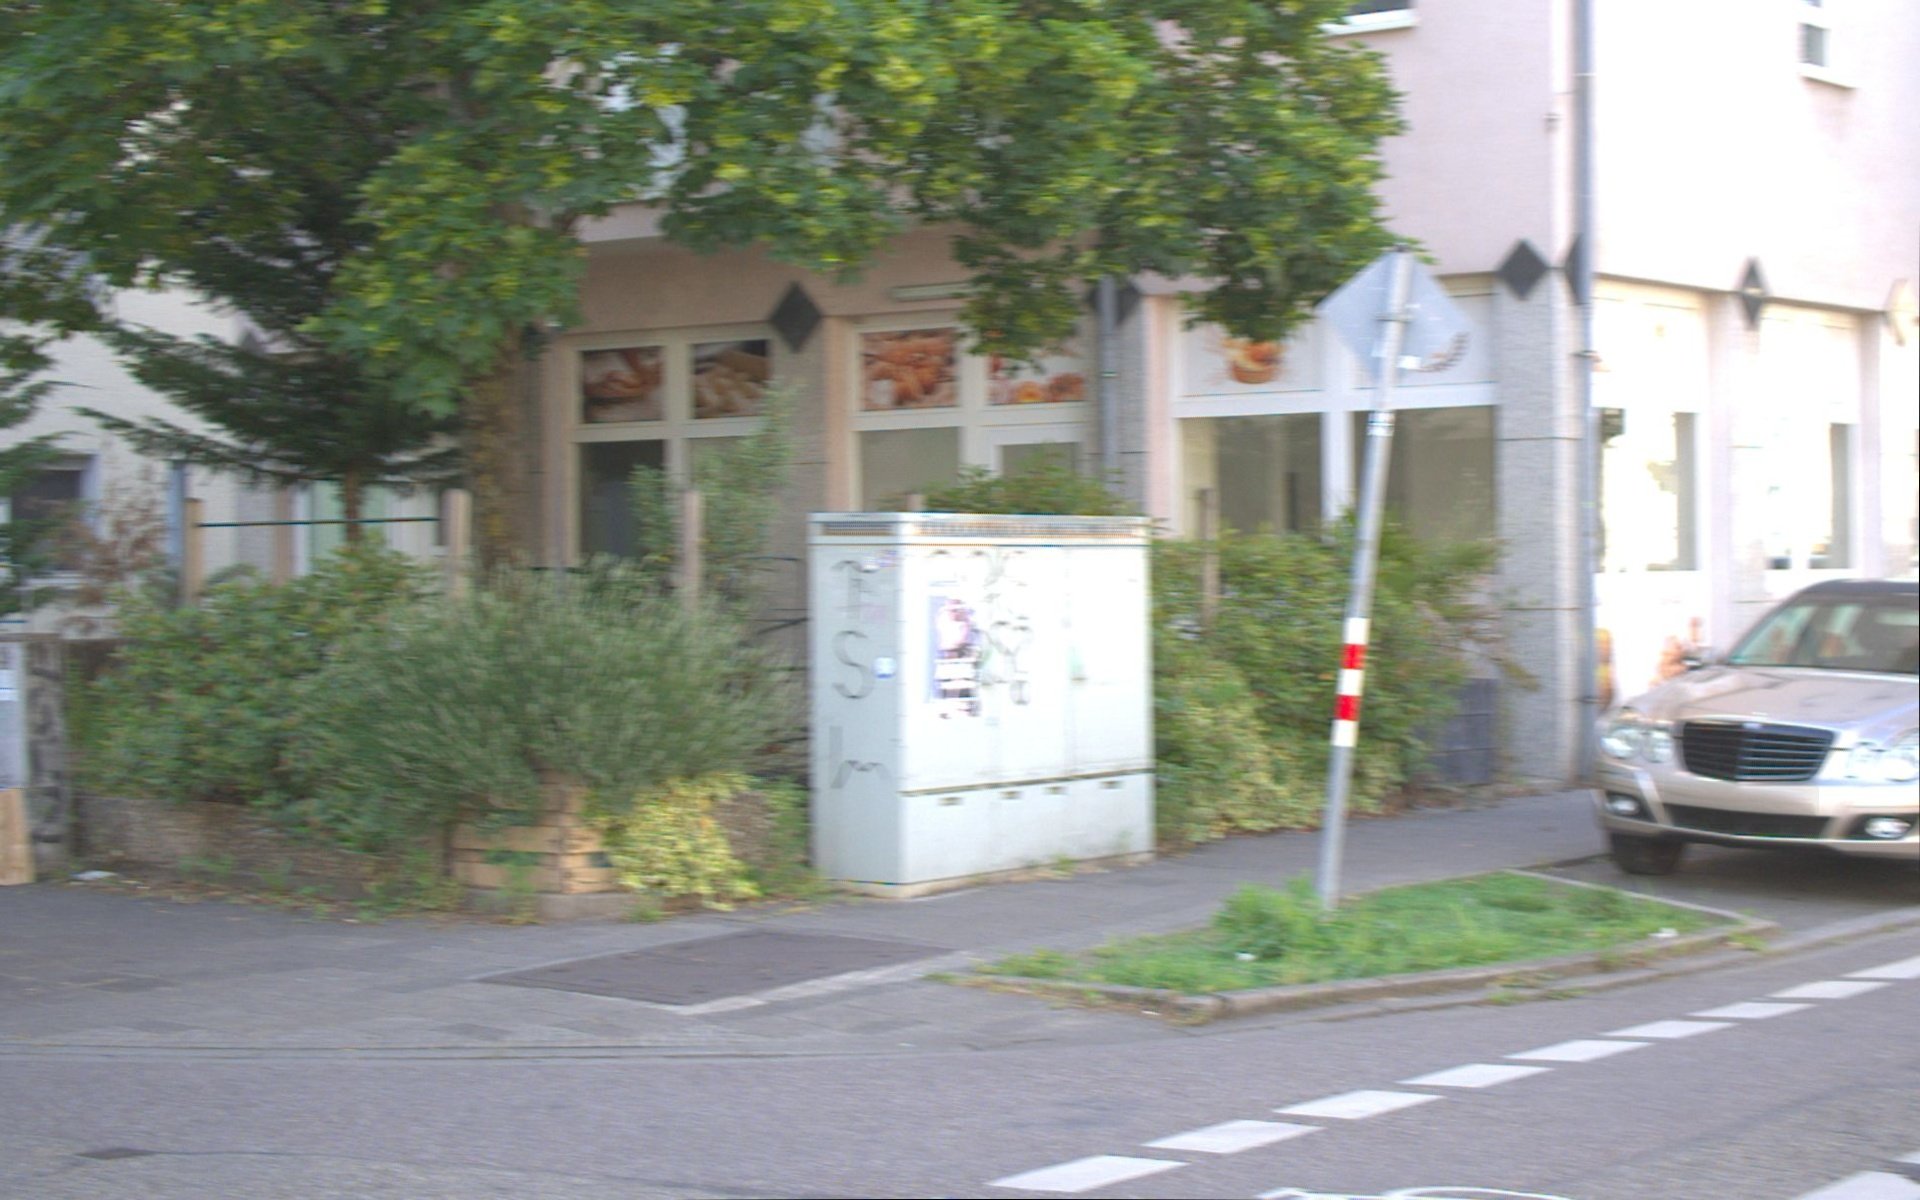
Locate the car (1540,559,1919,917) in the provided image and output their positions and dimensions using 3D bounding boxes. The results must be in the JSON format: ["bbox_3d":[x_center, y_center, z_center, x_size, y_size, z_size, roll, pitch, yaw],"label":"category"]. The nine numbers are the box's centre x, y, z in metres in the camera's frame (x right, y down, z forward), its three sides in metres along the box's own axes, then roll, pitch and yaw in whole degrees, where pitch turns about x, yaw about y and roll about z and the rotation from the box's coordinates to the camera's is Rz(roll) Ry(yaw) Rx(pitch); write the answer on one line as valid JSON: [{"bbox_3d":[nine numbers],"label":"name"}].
[{"bbox_3d":[4.510,0.562,16.763,1.748,1.438,3.992,2,2,35],"label":"car"}]
